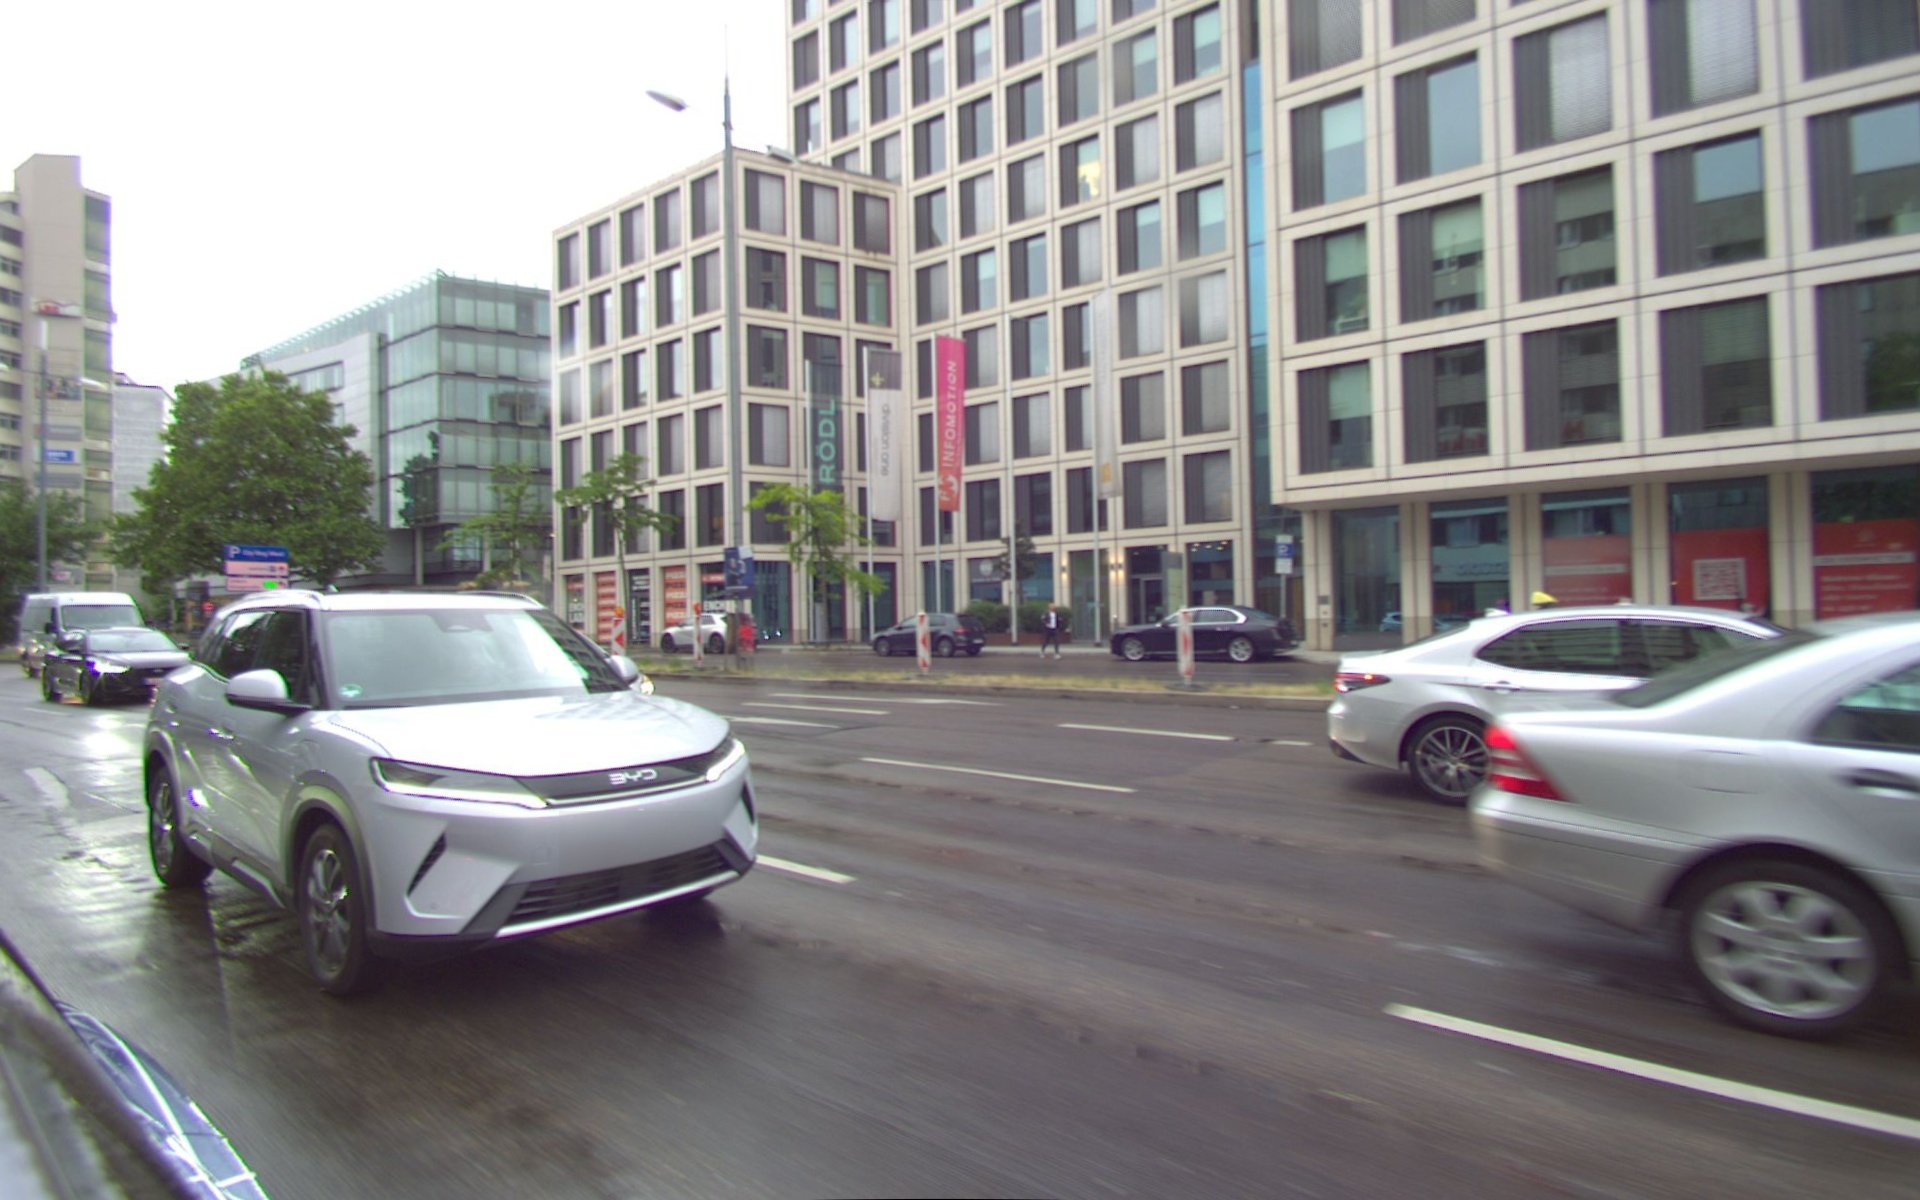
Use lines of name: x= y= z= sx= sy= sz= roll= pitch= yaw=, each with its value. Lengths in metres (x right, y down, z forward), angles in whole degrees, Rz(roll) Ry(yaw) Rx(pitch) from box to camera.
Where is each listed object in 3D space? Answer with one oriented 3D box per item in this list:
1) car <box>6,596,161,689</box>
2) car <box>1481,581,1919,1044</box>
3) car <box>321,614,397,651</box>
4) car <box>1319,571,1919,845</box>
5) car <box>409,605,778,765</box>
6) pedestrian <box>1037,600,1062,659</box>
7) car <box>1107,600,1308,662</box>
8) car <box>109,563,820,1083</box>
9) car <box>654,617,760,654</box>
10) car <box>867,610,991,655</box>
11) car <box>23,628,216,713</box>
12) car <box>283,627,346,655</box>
car: x=-25.403 y=1.151 z=29.264 sx=5.710 sy=2.403 sz=2.233 roll=-1 pitch=0 yaw=37
car: x=4.227 y=0.631 z=3.149 sx=4.379 sy=1.414 sz=1.716 roll=-1 pitch=0 yaw=39
car: x=-35.379 y=1.859 z=59.549 sx=4.903 sy=2.029 sz=1.977 roll=-1 pitch=0 yaw=35
car: x=5.203 y=0.597 z=7.006 sx=4.799 sy=1.533 sz=1.812 roll=-1 pitch=0 yaw=42
car: x=-4.208 y=0.838 z=11.465 sx=4.113 sy=1.490 sz=1.757 roll=-1 pitch=0 yaw=32
pedestrian: x=2.740 y=0.891 z=30.991 sx=0.608 sy=1.747 sz=0.963 roll=-1 pitch=0 yaw=14
car: x=6.795 y=0.855 z=28.141 sx=5.171 sy=1.581 sz=1.683 roll=-1 pitch=-2 yaw=35
car: x=-2.814 y=0.723 z=5.289 sx=4.167 sy=1.673 sz=1.790 roll=-1 pitch=0 yaw=40
car: x=-10.202 y=1.421 z=40.678 sx=4.364 sy=1.435 sz=1.683 roll=-1 pitch=-2 yaw=35
car: x=-1.068 y=1.094 z=33.902 sx=3.946 sy=1.435 sz=1.683 roll=-1 pitch=-2 yaw=35
car: x=-16.610 y=1.306 z=19.950 sx=4.231 sy=1.412 sz=1.883 roll=-1 pitch=0 yaw=35
car: x=-39.917 y=2.503 z=62.539 sx=4.276 sy=1.540 sz=1.782 roll=-1 pitch=0 yaw=35
